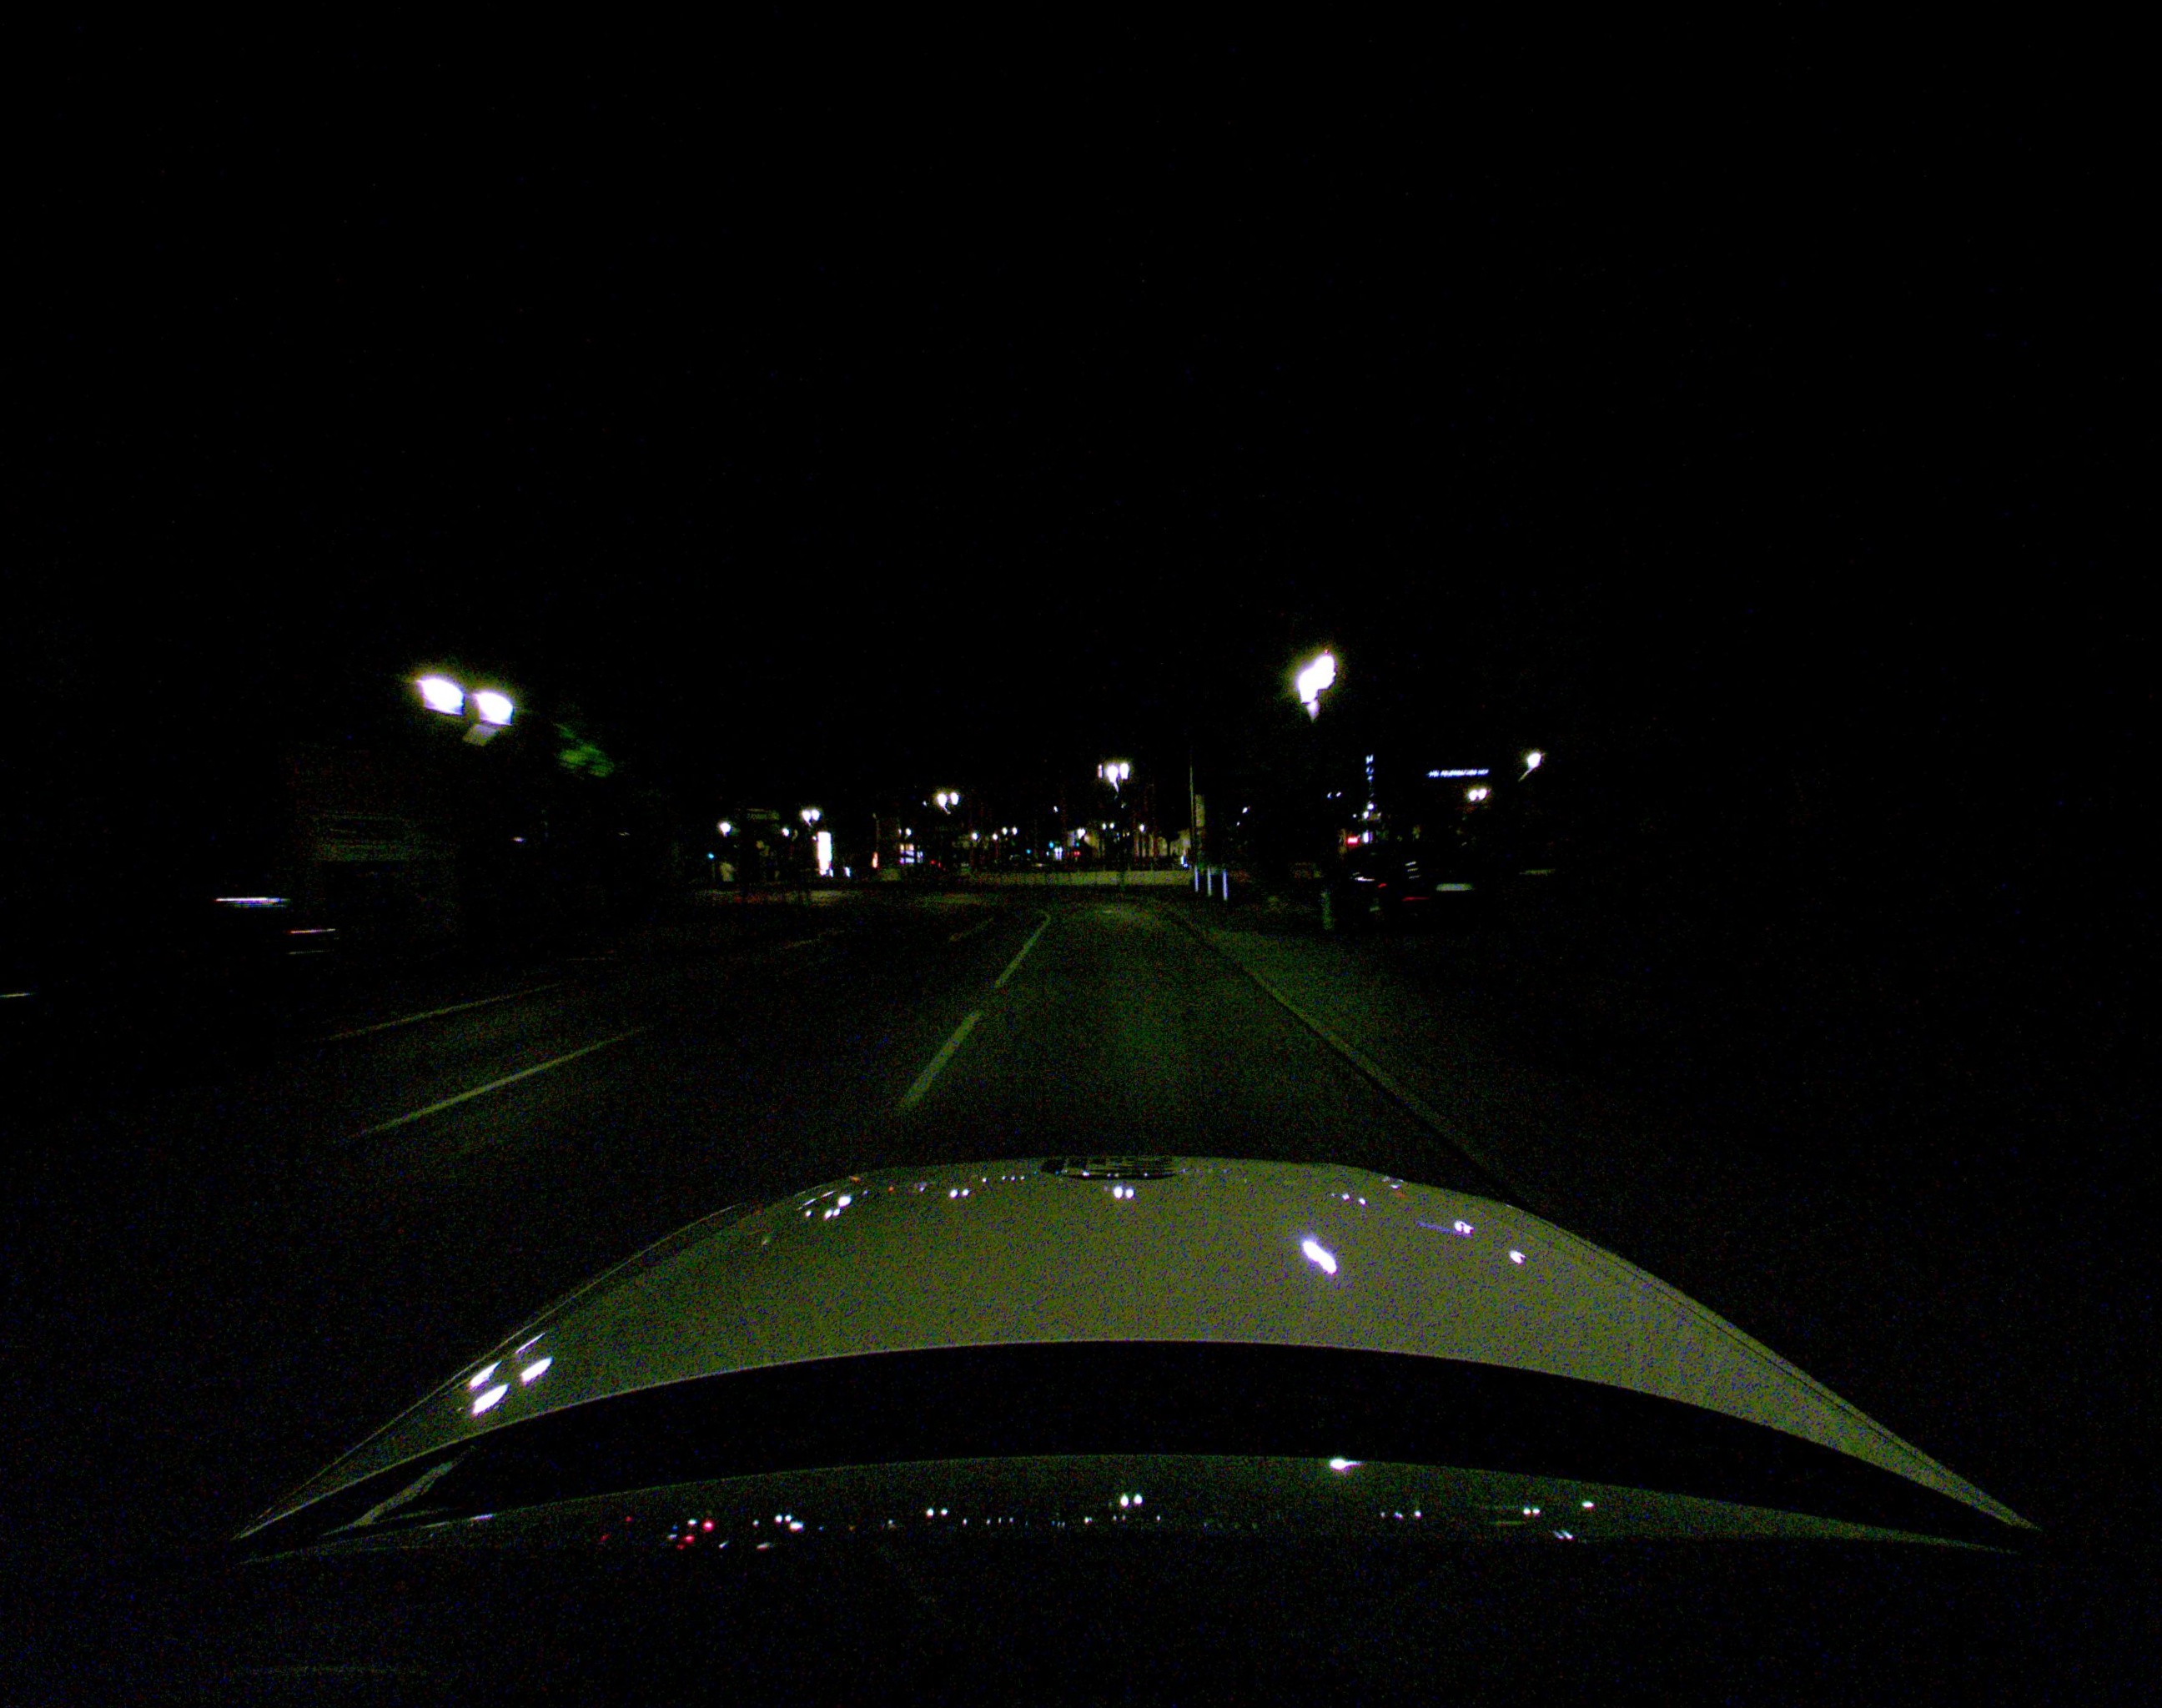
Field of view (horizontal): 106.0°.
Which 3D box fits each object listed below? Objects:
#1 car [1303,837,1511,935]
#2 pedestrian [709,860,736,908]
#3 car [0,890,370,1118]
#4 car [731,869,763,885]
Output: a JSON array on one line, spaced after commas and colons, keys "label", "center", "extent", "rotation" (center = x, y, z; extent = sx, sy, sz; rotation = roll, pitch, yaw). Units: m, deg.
[{"label": "car", "center": [5.706, 0.502, 14.993], "extent": [1.730, 1.459, 4.722], "rotation": [-2, 0, -3]}, {"label": "pedestrian", "center": [-13.899, 1.155, 31.578], "extent": [0.683, 1.822, 0.730], "rotation": [-3, -2, 44]}, {"label": "car", "center": [-8.203, 1.084, 6.295], "extent": [1.779, 1.415, 4.125], "rotation": [-1, 0, 0]}, {"label": "car", "center": [-35.419, 2.448, 86.383], "extent": [2.011, 1.574, 3.610], "rotation": [-2, 0, -42]}]
